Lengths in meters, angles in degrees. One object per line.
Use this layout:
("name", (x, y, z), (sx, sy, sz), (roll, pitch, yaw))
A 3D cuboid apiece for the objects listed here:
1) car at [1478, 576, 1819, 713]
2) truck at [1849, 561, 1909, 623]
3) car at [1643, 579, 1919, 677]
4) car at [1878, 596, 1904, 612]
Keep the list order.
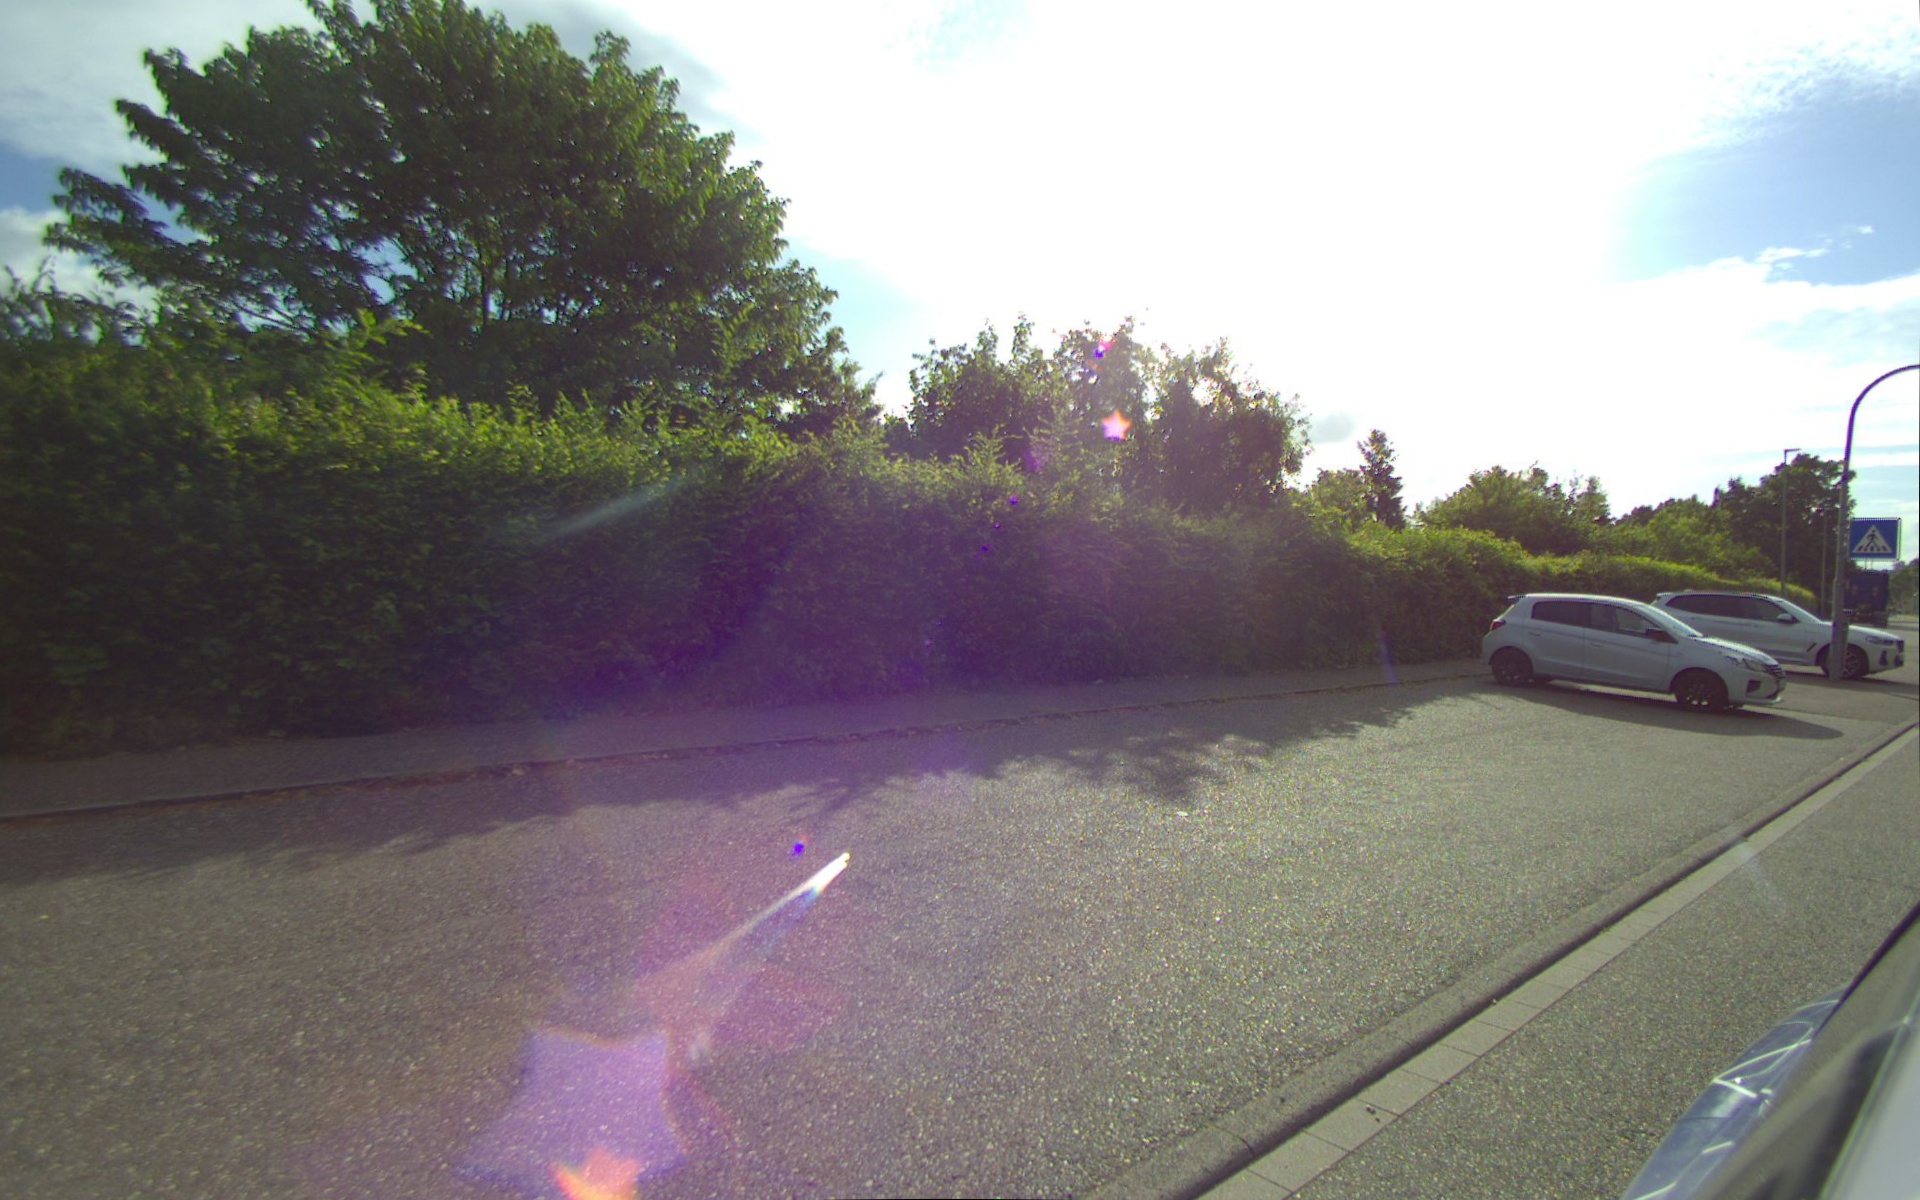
("car", (10.175, 0.567, 15.168), (1.663, 1.508, 3.865), (2, 4, -42))
("truck", (65.437, -0.579, 72.144), (2.594, 4.005, 6.192), (7, 4, 40))
("car", (18.015, 0.513, 22.254), (1.732, 1.720, 4.598), (0, 4, -40))
("car", (96.793, 0.395, 105.230), (1.746, 1.589, 3.804), (5, 3, 41))
